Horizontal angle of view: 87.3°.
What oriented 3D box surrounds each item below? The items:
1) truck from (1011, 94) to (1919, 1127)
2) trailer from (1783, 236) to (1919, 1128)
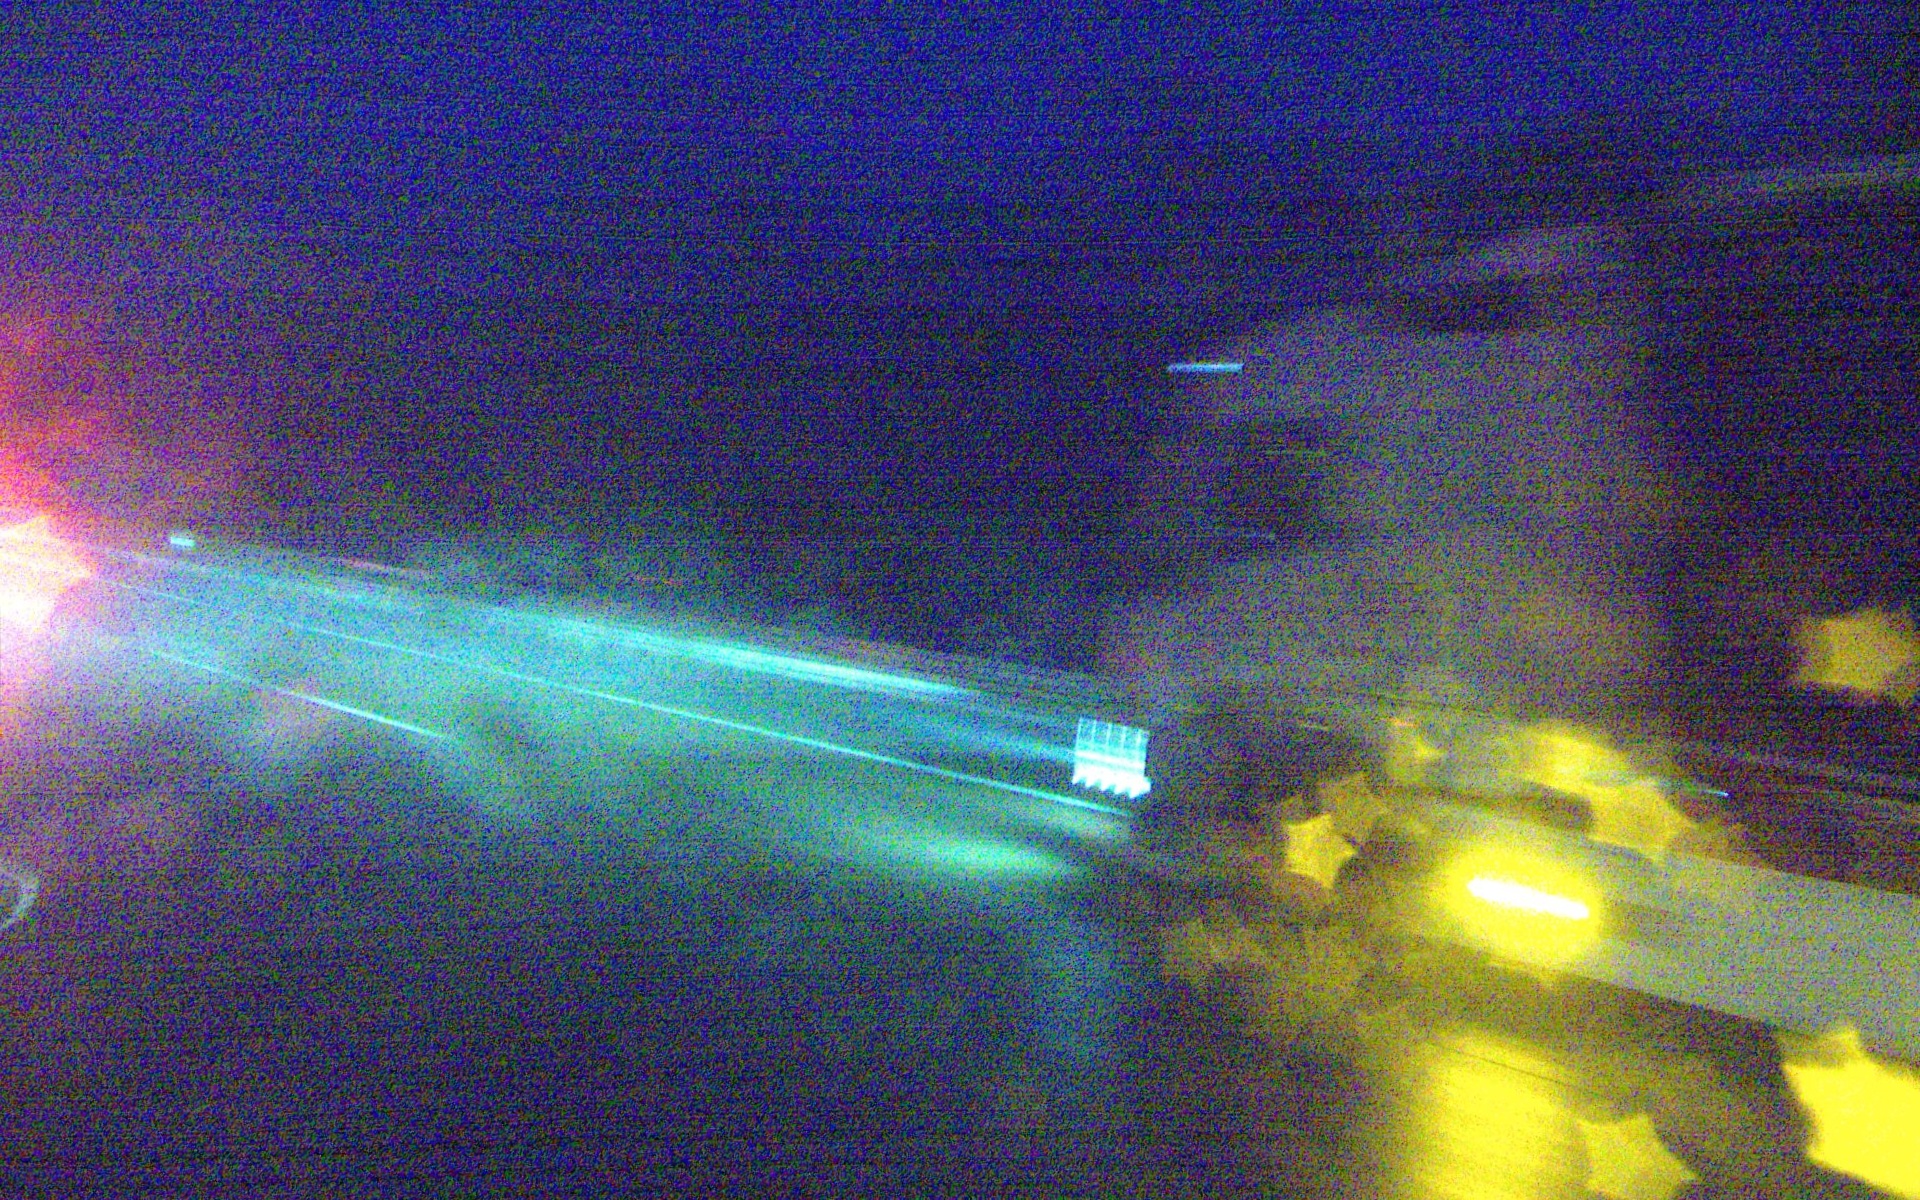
[{"bbox_3d":[4.207,0.084,5.511,6.899,4.151,2.864,7,-1,32],"label":"truck"},{"bbox_3d":[10.343,0.764,1.560,13.418,4.145,2.869,6,-1,33],"label":"trailer"}]
